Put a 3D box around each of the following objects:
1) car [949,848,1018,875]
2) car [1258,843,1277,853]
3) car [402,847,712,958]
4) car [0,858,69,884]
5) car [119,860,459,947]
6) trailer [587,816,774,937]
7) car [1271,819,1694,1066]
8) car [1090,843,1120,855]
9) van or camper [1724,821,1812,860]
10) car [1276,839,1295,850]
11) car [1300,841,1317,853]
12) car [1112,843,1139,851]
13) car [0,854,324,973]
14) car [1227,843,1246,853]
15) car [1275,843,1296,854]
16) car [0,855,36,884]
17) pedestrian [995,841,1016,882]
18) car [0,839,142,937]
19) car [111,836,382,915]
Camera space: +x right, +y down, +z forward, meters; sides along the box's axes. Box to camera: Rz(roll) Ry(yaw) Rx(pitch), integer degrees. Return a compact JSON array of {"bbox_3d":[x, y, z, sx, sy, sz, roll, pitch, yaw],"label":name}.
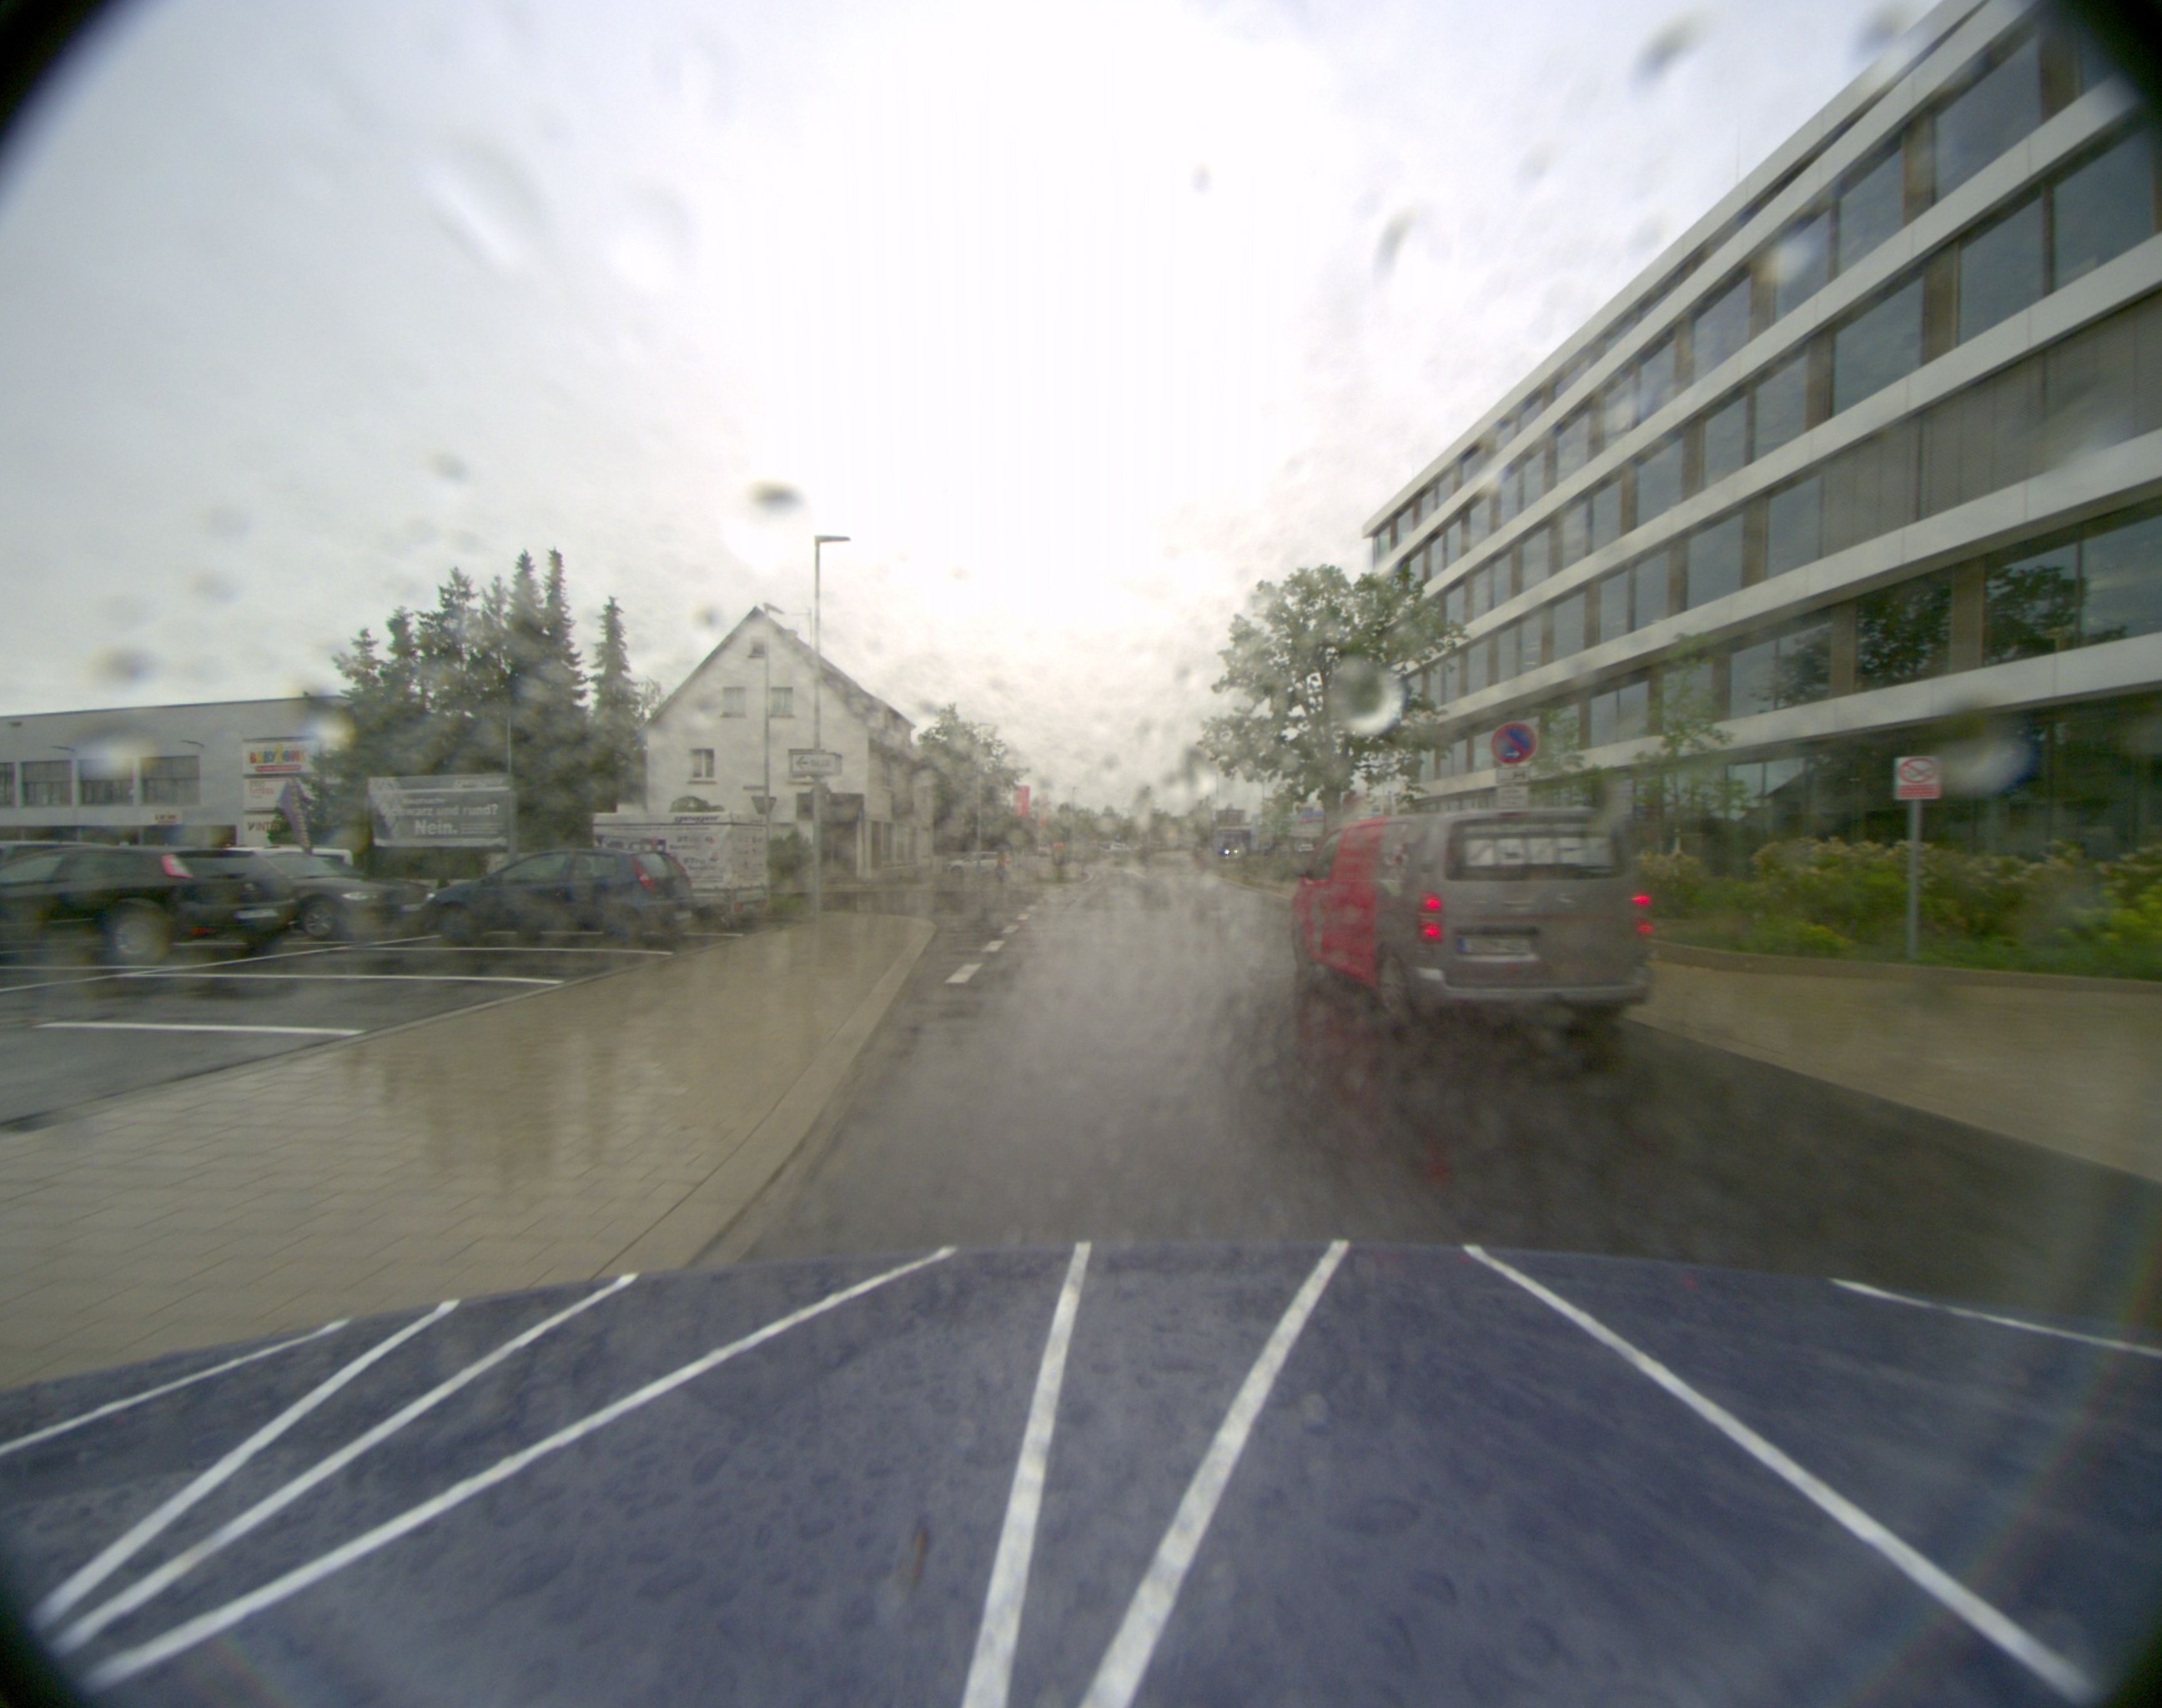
[{"bbox_3d":[-6.266,0.456,48.572,4.144,1.571,1.997,2,0,-13],"label":"car"},{"bbox_3d":[27.284,-0.852,110.892,1.883,1.288,4.006,-3,0,25],"label":"car"},{"bbox_3d":[-8.073,0.701,11.943,3.735,1.520,1.650,1,2,1],"label":"car"},{"bbox_3d":[-66.793,1.119,47.522,1.609,1.439,3.768,-3,2,16],"label":"car"},{"bbox_3d":[-12.867,0.766,12.539,3.736,1.308,1.692,0,1,-2],"label":"car"},{"bbox_3d":[-7.494,0.391,14.381,2.708,2.159,1.548,0,1,3],"label":"trailer"},{"bbox_3d":[3.561,0.638,8.079,2.007,1.807,4.980,0,0,2],"label":"car"},{"bbox_3d":[3.689,-0.750,116.894,4.095,1.696,2.004,0,0,29],"label":"car"},{"bbox_3d":[58.015,-1.131,64.240,5.090,3.070,2.003,-2,0,22],"label":"van or camper"},{"bbox_3d":[29.682,-1.325,110.386,1.883,1.477,4.006,-3,0,25],"label":"car"},{"bbox_3d":[28.973,-0.868,96.745,1.790,1.543,4.006,0,1,22],"label":"car"},{"bbox_3d":[7.402,-1.149,126.295,3.990,1.433,2.004,0,0,25],"label":"car"},{"bbox_3d":[-12.898,0.735,10.155,3.736,1.440,1.730,0,1,-2],"label":"car"},{"bbox_3d":[25.260,-1.016,123.574,1.916,1.521,4.007,-2,0,27],"label":"car"},{"bbox_3d":[26.255,-0.758,97.306,1.883,1.288,4.006,-3,0,25],"label":"car"},{"bbox_3d":[-69.059,1.046,47.617,1.609,1.743,3.768,-3,2,16],"label":"car"},{"bbox_3d":[-3.737,0.361,37.496,0.861,2.002,1.195,2,1,-1],"label":"pedestrian"},{"bbox_3d":[-22.462,0.614,15.935,4.480,1.818,1.896,1,1,17],"label":"car"},{"bbox_3d":[-21.777,0.496,20.157,1.890,1.818,4.494,1,0,10],"label":"car"}]
